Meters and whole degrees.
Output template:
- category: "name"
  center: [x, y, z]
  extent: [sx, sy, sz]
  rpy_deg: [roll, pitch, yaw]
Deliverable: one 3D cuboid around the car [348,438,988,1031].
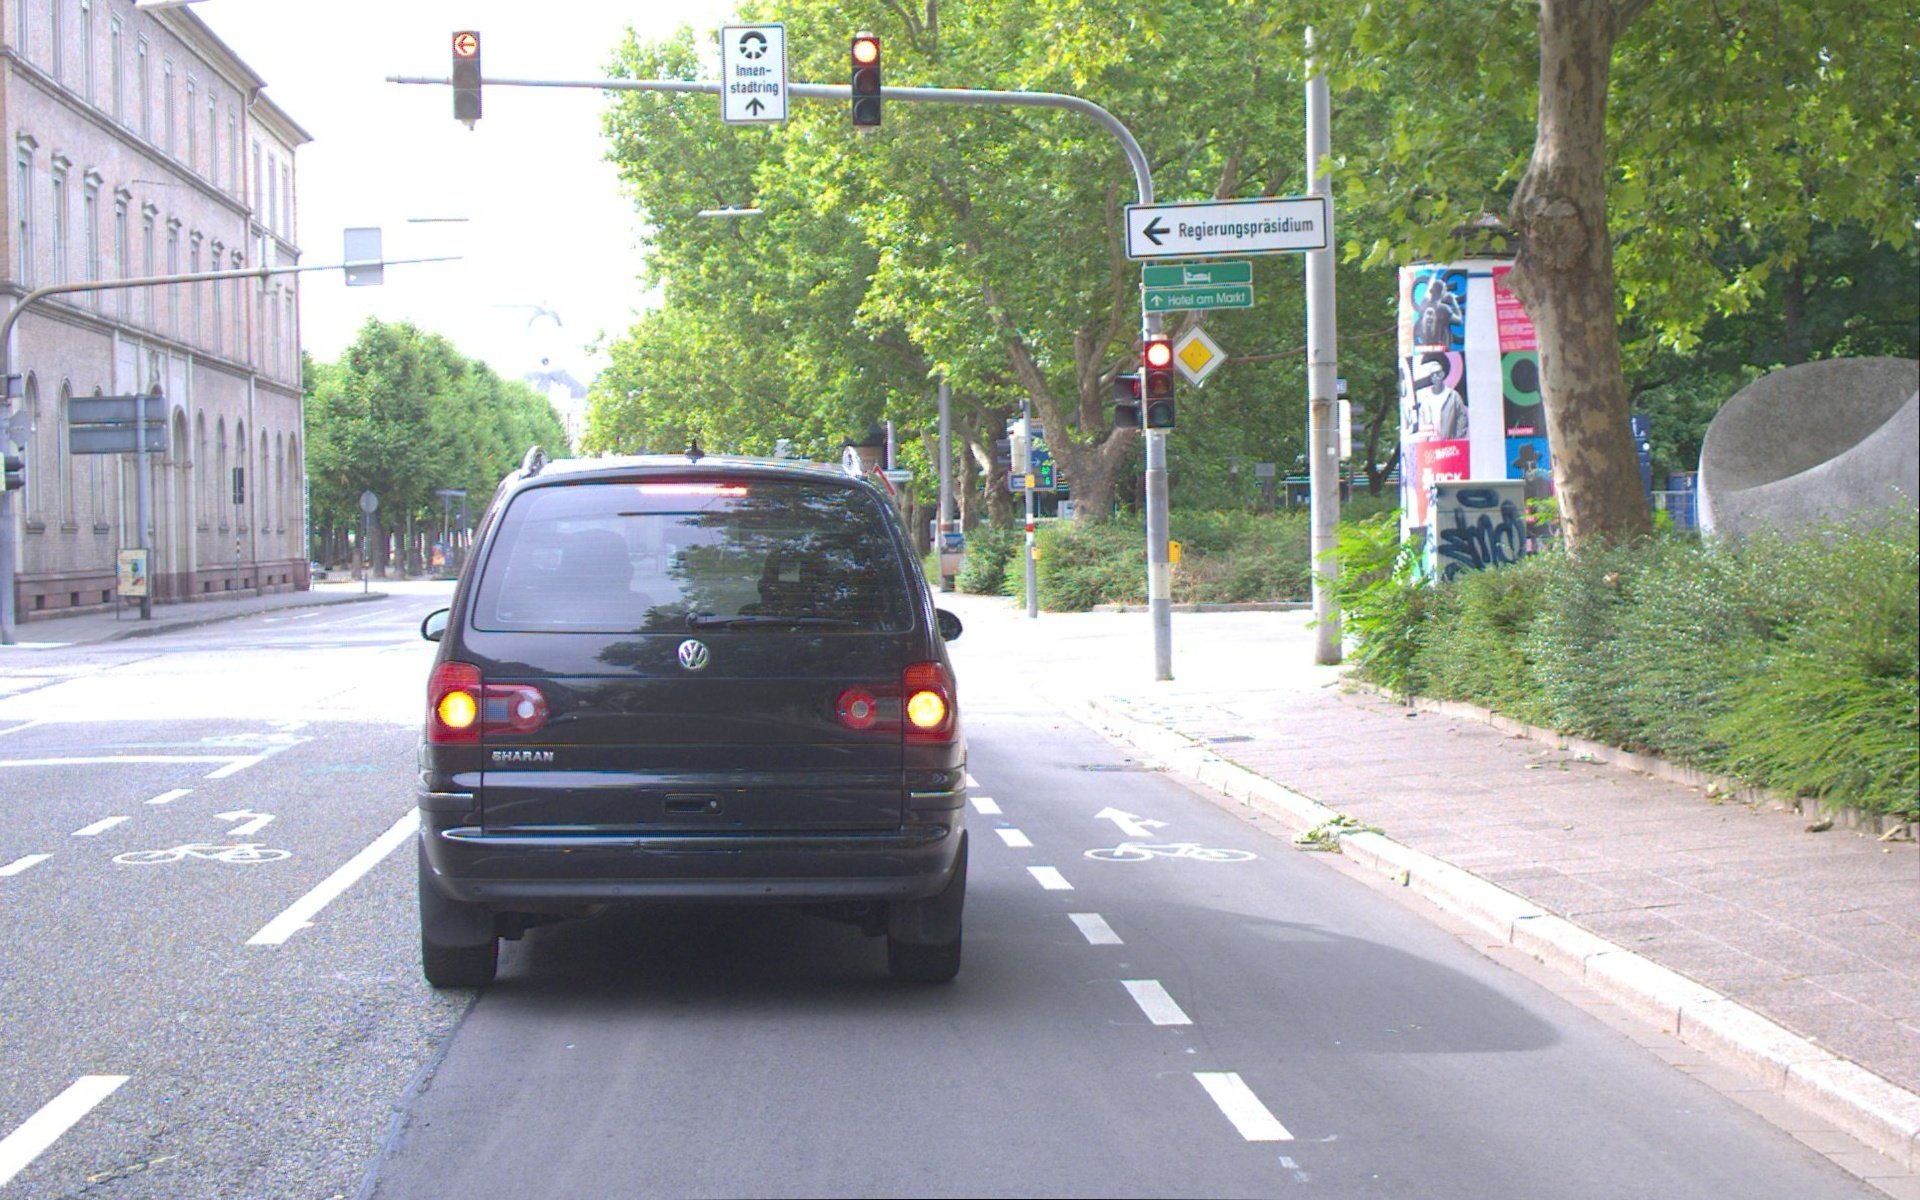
- category: "car"
  center: [-0.902, 0.339, 12.521]
  extent: [1.874, 1.739, 4.574]
  rpy_deg: [-1, 2, -1]
